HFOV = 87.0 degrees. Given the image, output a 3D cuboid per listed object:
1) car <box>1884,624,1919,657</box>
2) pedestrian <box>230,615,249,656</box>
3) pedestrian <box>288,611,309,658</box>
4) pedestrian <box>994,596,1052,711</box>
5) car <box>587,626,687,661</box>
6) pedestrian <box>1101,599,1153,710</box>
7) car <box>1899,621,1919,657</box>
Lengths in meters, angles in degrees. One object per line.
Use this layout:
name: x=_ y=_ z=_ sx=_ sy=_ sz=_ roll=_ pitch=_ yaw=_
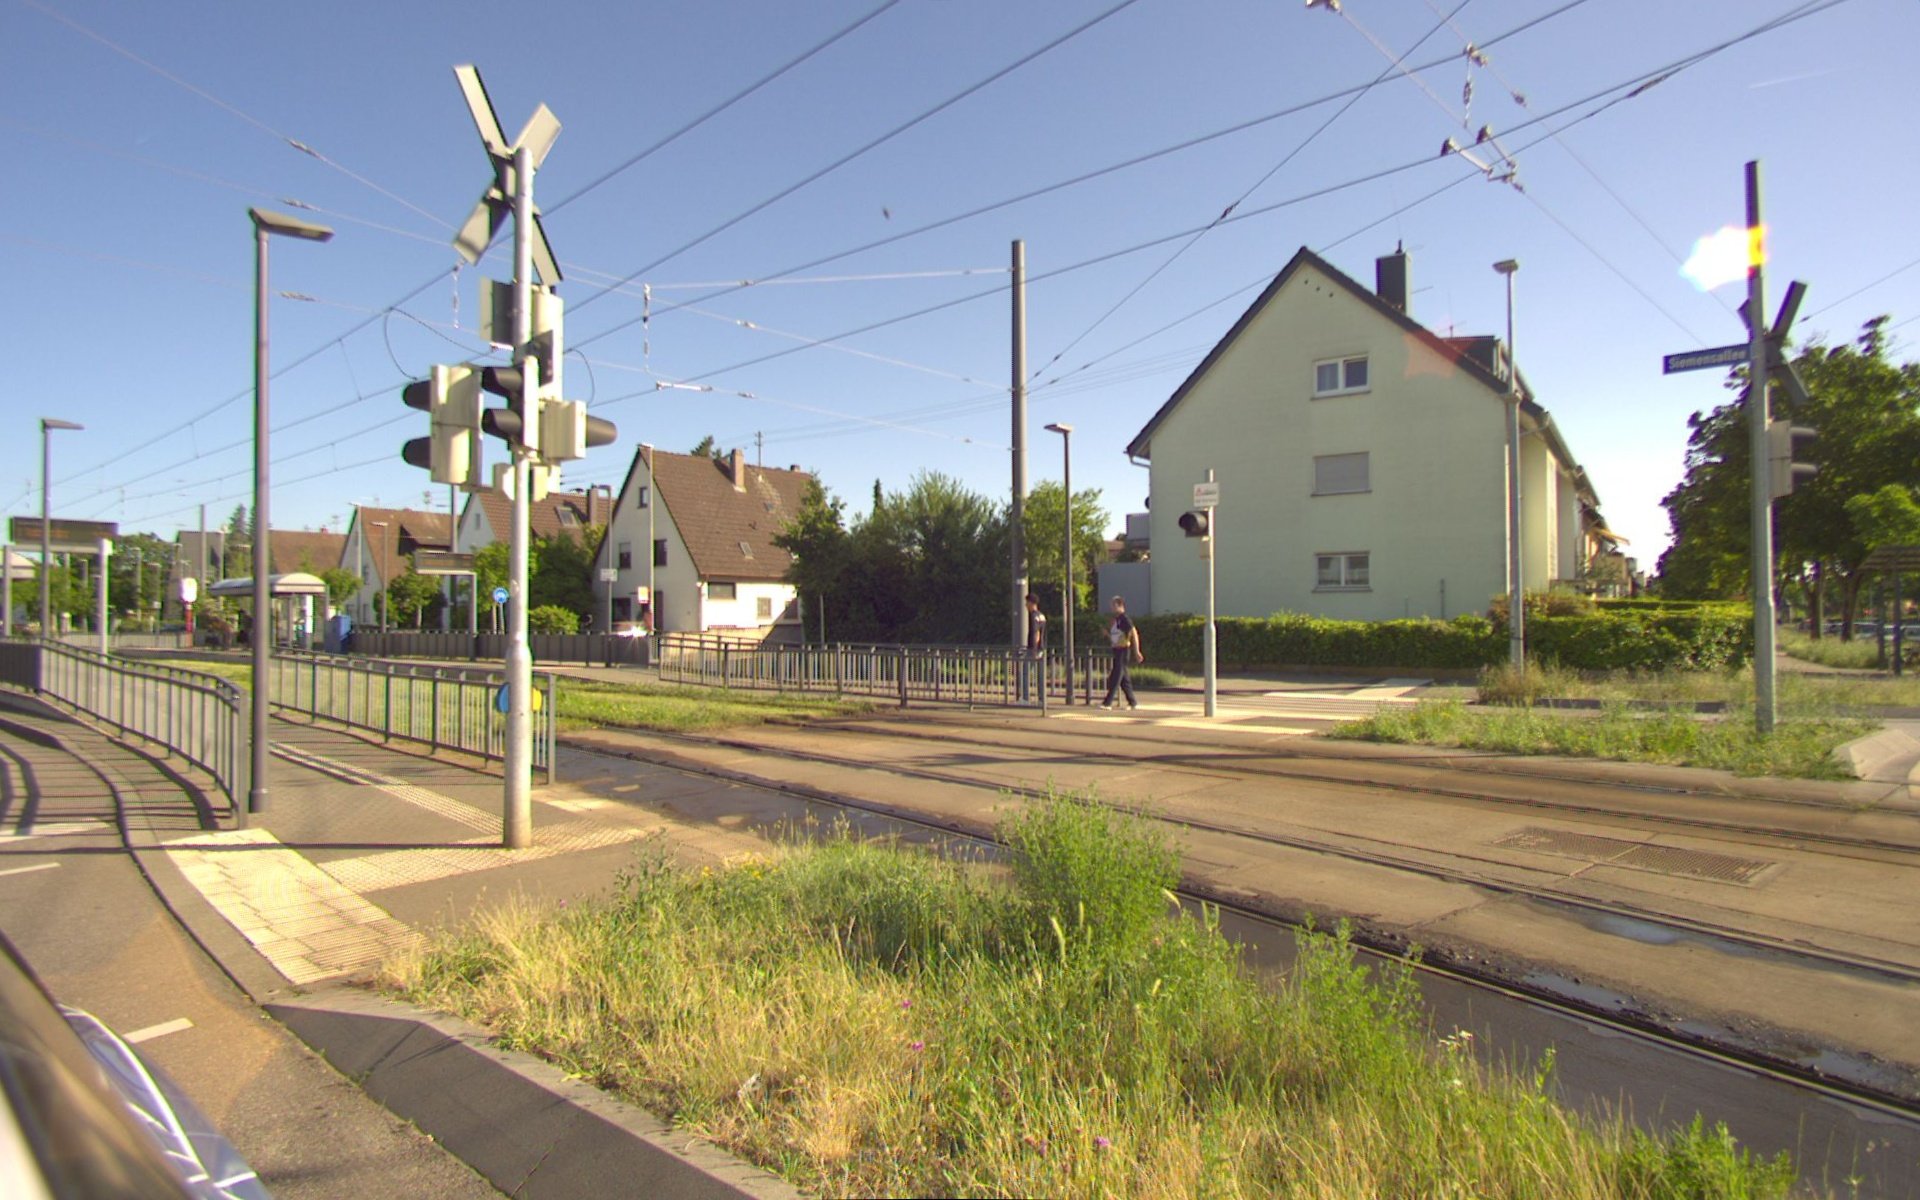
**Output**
car: x=46.363 y=1.928 z=49.060 sx=1.823 sy=1.403 sz=3.822 roll=-1 pitch=0 yaw=36
pedestrian: x=-30.961 y=1.526 z=43.479 sx=0.543 sy=1.766 sz=0.528 roll=-2 pitch=-2 yaw=40
pedestrian: x=-25.409 y=1.318 z=38.880 sx=0.612 sy=1.766 sz=0.443 roll=1 pitch=-2 yaw=-30
pedestrian: x=1.016 y=0.838 z=16.267 sx=0.818 sy=1.784 sz=0.686 roll=0 pitch=1 yaw=16
car: x=-14.763 y=1.960 z=46.388 sx=1.997 sy=1.547 sz=3.941 roll=-2 pitch=-2 yaw=37
pedestrian: x=2.625 y=0.834 z=15.892 sx=0.721 sy=1.673 sz=0.792 roll=0 pitch=1 yaw=16
car: x=42.317 y=1.666 z=43.887 sx=1.823 sy=1.403 sz=3.745 roll=-1 pitch=0 yaw=36
